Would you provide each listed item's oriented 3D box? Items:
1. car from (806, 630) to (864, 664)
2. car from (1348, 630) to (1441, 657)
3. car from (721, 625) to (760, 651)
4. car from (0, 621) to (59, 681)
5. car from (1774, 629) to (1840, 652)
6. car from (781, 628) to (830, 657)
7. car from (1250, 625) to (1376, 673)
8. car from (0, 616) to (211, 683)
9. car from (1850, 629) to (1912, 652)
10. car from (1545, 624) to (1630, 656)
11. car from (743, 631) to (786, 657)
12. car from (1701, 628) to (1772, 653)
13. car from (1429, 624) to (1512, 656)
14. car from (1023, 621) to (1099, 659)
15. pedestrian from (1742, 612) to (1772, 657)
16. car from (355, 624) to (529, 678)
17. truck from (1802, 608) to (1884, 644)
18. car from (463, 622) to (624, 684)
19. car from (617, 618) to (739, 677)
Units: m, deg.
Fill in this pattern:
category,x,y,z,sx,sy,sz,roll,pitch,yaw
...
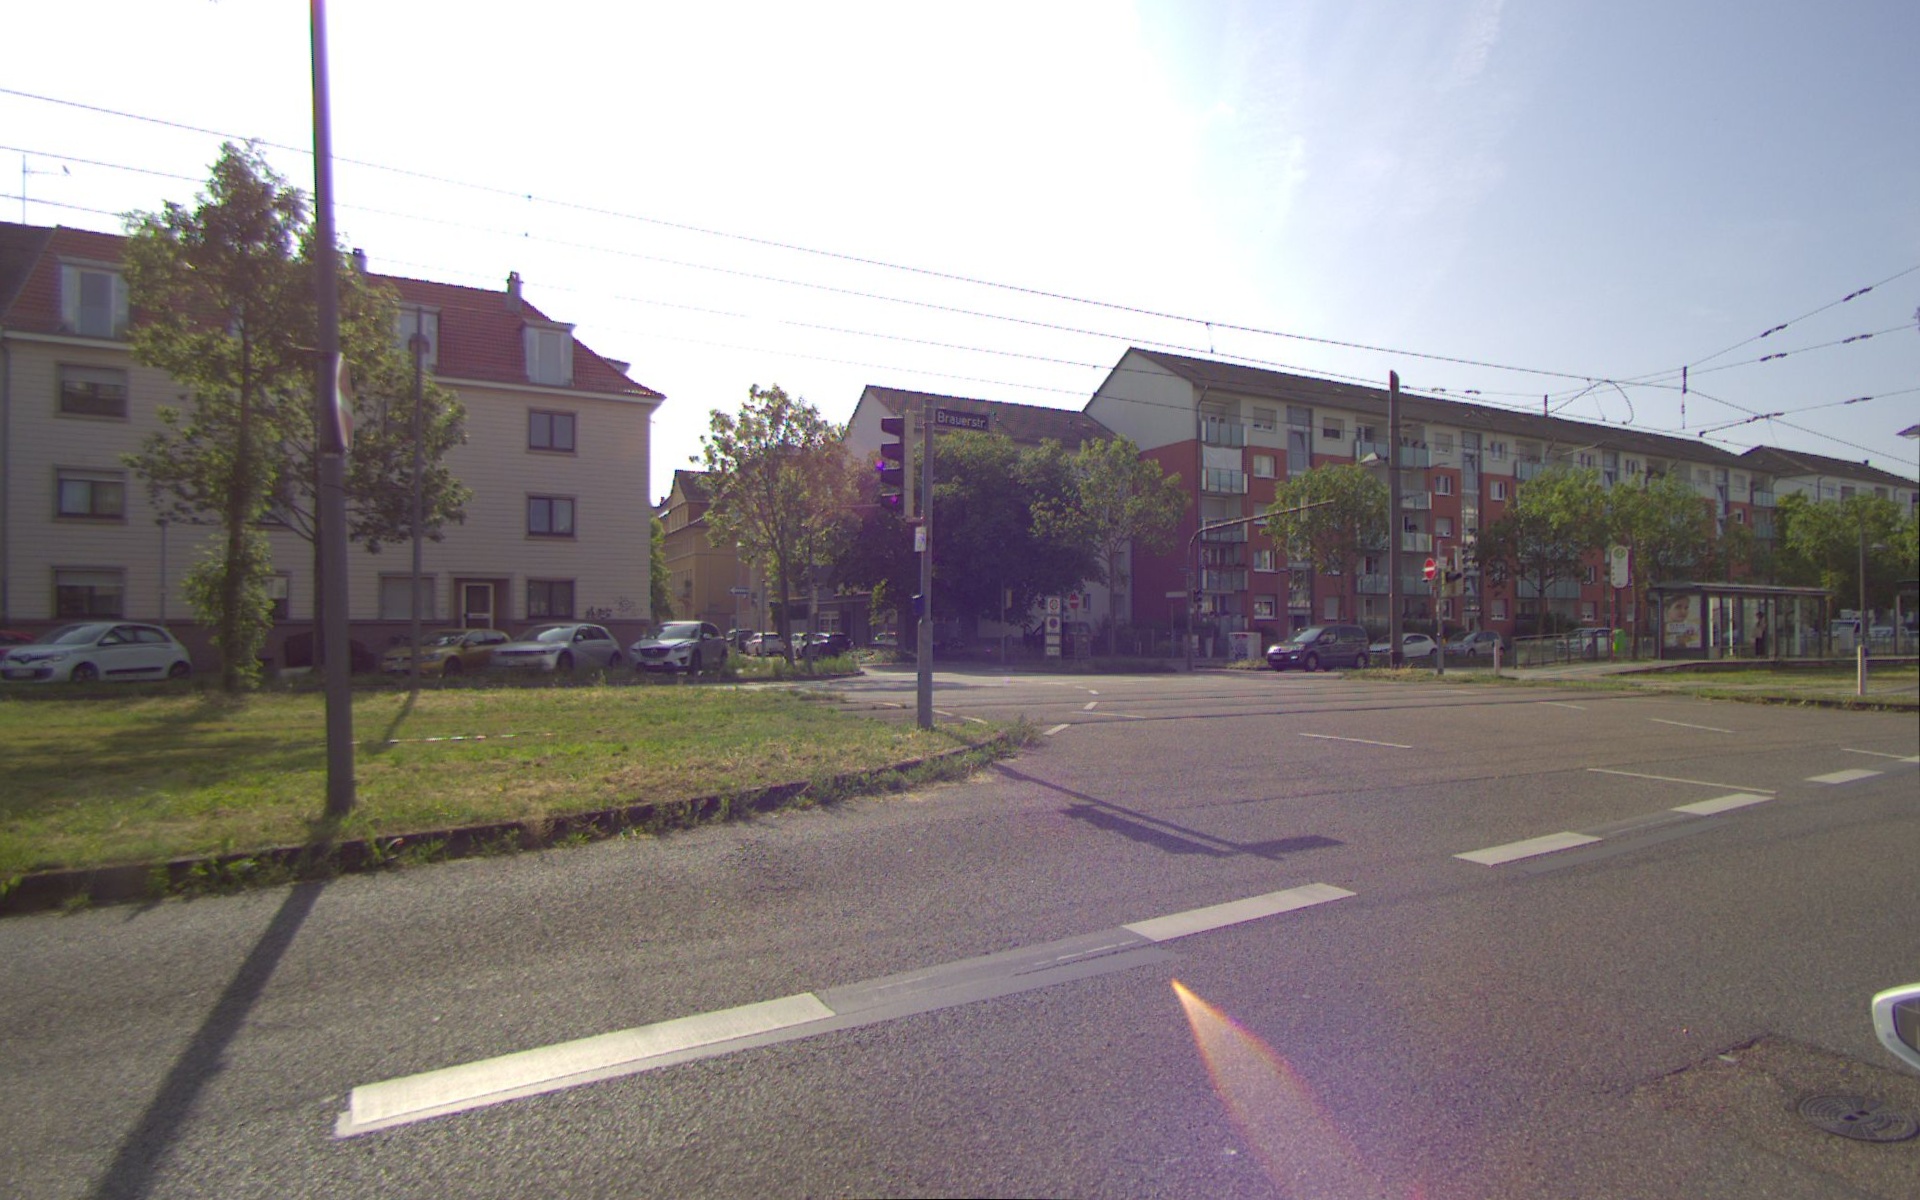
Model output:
category,x,y,z,sx,sy,sz,roll,pitch,yaw
car,-6.822,2.492,54.372,1.972,1.627,3.975,1,0,-25
car,20.198,2.006,46.695,4.114,1.163,1.825,1,0,-29
car,-15.584,2.678,71.146,1.905,1.663,3.976,1,0,-24
car,-22.188,1.136,21.589,1.838,1.275,4.002,1,0,5
car,55.505,2.622,65.825,4.019,1.378,1.972,1,0,-29
car,-9.122,2.450,58.943,1.796,1.495,3.975,1,0,-25
car,13.468,1.842,38.254,4.655,1.728,1.985,1,-1,-29
car,-19.591,1.068,22.930,1.849,1.286,4.001,1,0,2
car,64.877,2.831,70.779,4.228,1.533,1.972,1,0,-29
car,33.916,2.141,54.280,4.482,1.577,1.972,1,0,-29
car,-12.686,2.802,65.060,1.796,1.495,3.975,1,0,-25
car,47.186,2.436,61.046,4.019,1.378,1.972,1,0,-29
car,25.216,1.947,49.581,3.780,1.490,1.825,1,0,-29
car,5.013,1.980,50.228,1.974,1.717,3.973,1,0,-27
pedestrian,29.673,1.287,37.394,0.786,1.675,0.668,1,-2,-32
car,-13.554,1.290,26.586,1.959,1.194,4.002,1,0,13
truck,66.609,1.955,75.757,7.152,2.597,2.355,1,0,-29
car,-11.090,1.376,27.147,1.959,1.534,4.468,0,-2,9
car,-8.053,1.309,29.097,1.924,1.483,4.355,1,0,5
